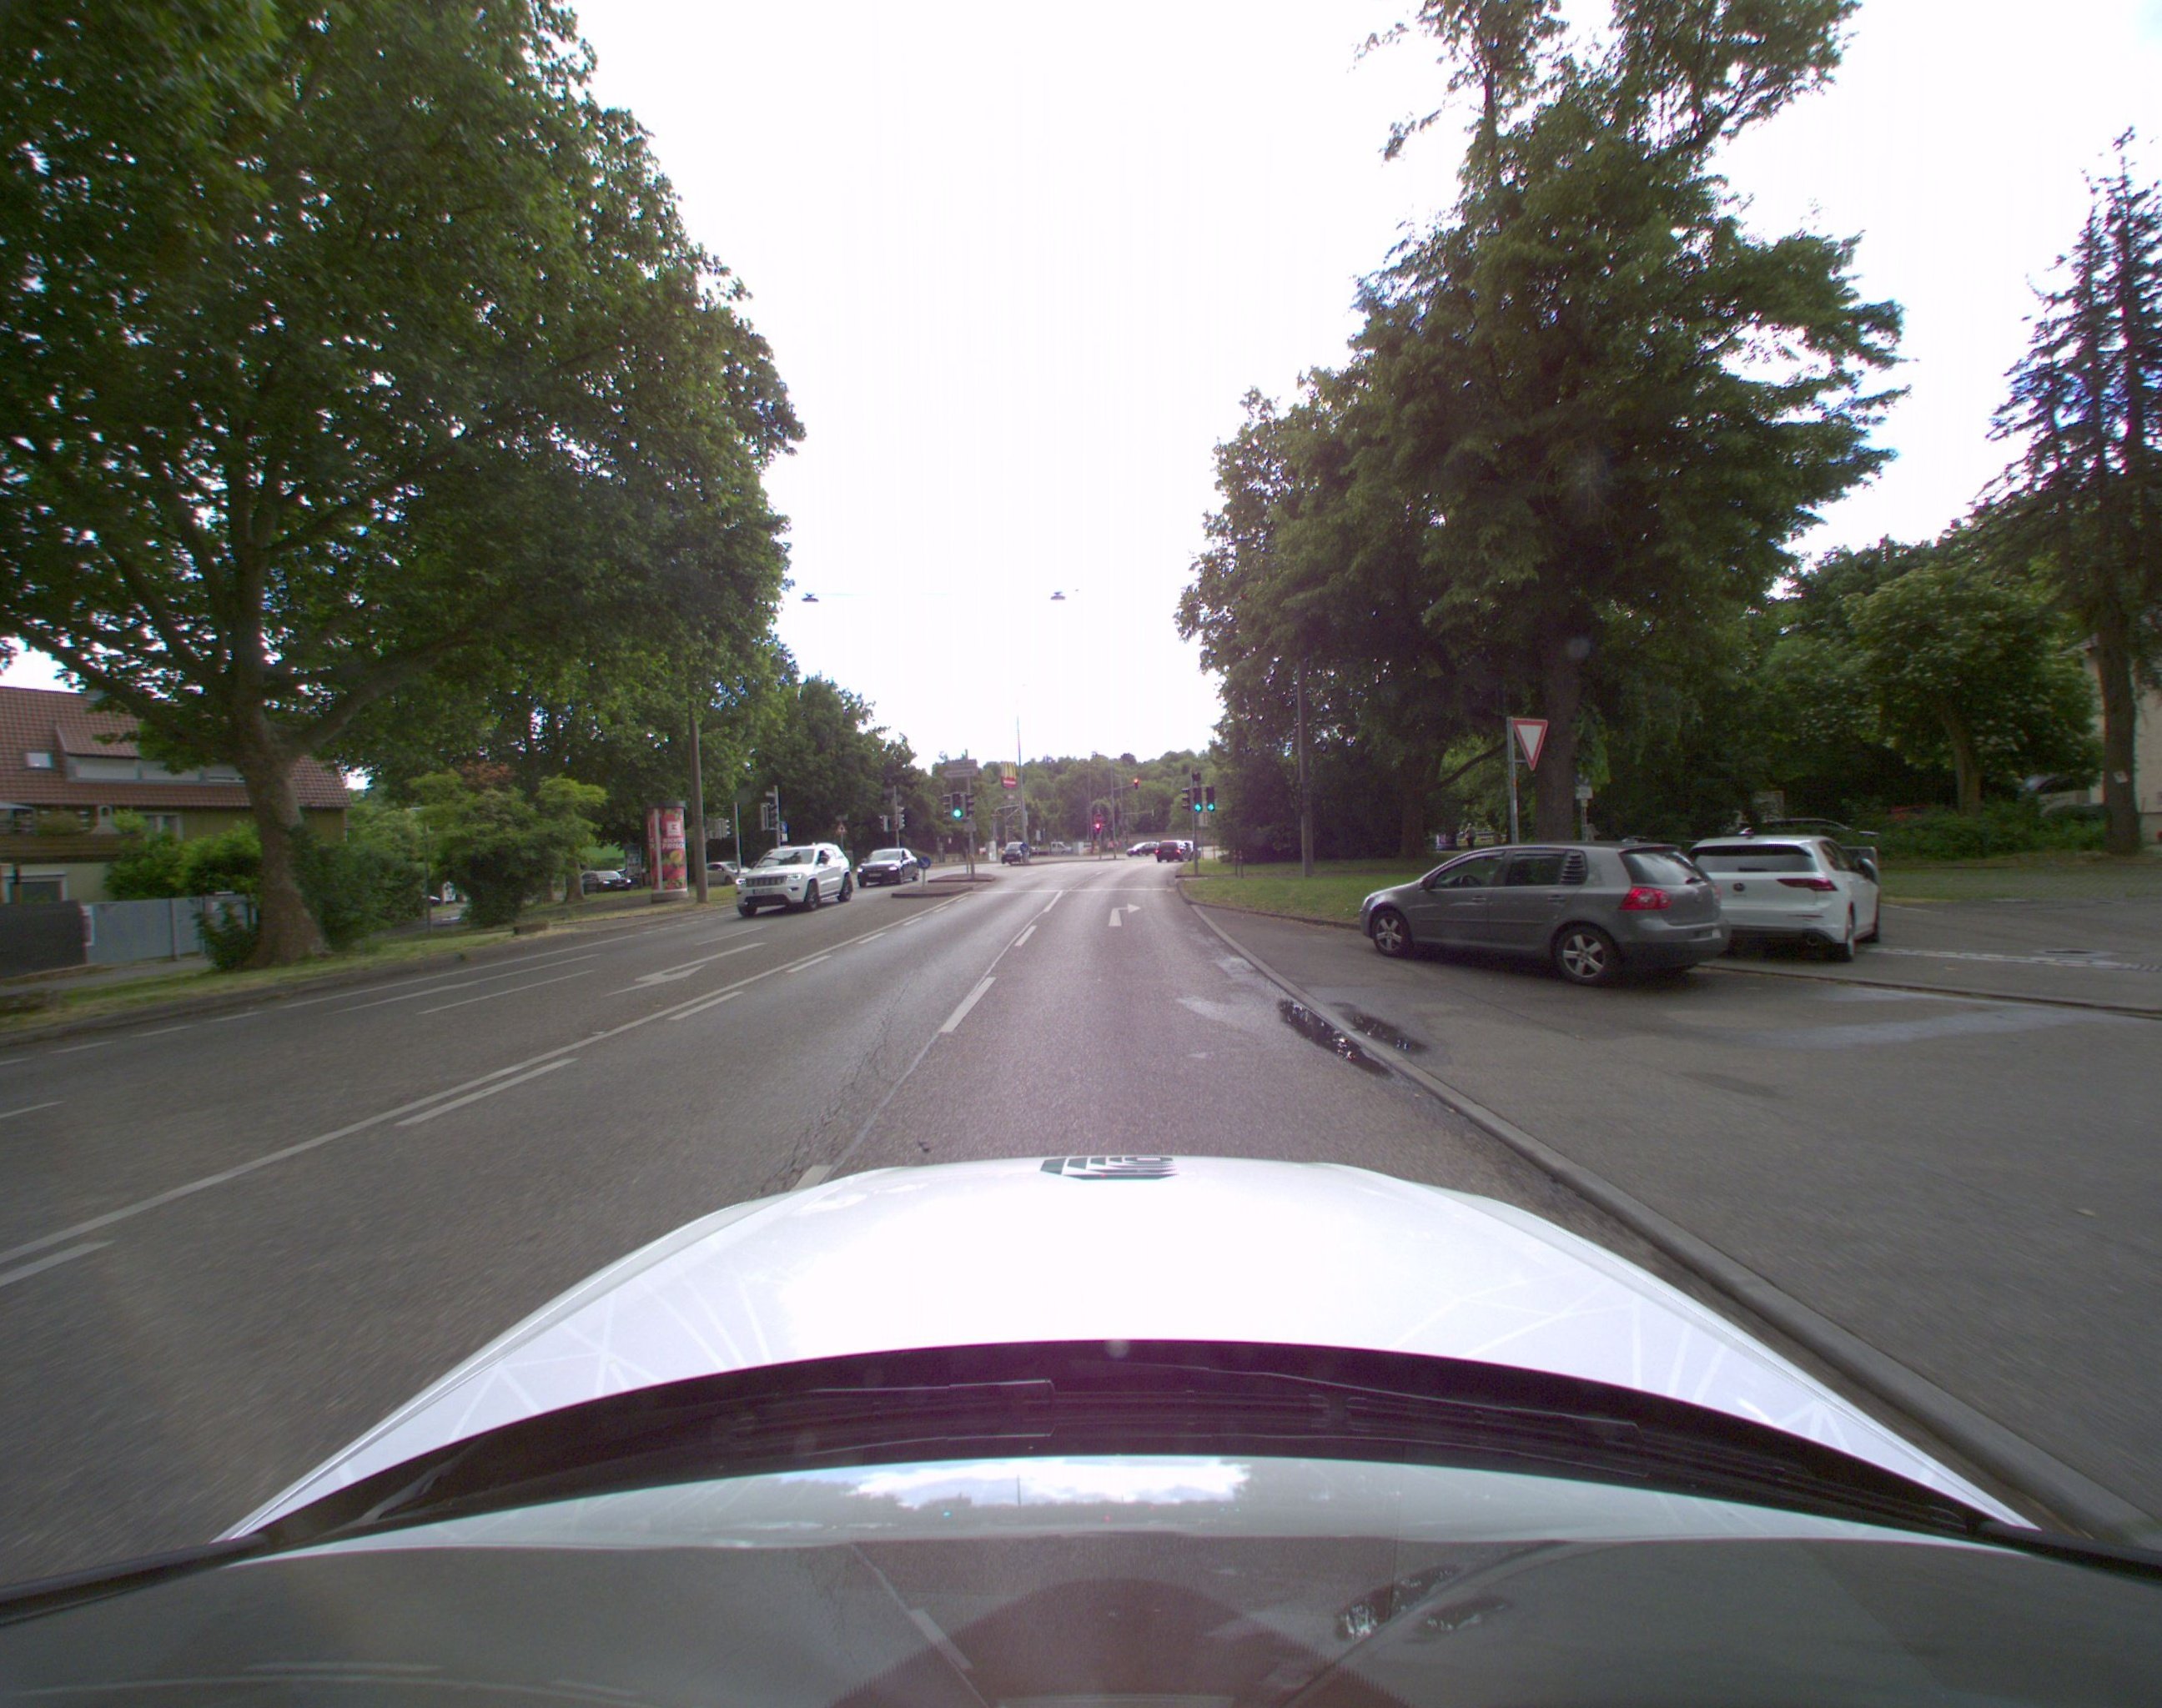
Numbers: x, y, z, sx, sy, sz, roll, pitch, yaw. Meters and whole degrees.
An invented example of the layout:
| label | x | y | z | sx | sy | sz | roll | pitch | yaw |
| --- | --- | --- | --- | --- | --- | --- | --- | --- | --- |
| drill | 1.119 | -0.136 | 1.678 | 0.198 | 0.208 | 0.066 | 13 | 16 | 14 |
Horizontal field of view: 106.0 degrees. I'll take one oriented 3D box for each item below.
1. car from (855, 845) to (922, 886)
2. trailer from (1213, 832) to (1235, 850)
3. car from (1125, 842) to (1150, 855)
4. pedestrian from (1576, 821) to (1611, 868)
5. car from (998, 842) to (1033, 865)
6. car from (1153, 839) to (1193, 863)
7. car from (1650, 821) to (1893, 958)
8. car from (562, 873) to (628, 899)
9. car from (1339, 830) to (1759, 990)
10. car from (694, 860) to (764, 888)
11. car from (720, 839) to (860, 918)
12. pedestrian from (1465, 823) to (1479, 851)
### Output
| label | x | y | z | sx | sy | sz | roll | pitch | yaw |
| --- | --- | --- | --- | --- | --- | --- | --- | --- | --- |
| car | -7.788 | 0.439 | 33.233 | 1.562 | 1.382 | 3.952 | -4 | 2 | 2 |
| trailer | 23.230 | -2.094 | 131.976 | 2.331 | 2.582 | 4.947 | -3 | -1 | 22 |
| car | 6.361 | -0.621 | 90.905 | 1.663 | 1.366 | 4.332 | -2 | 1 | 18 |
| pedestrian | 17.467 | -0.313 | 27.769 | 0.680 | 1.551 | 0.744 | -3 | 0 | 7 |
| car | -4.763 | -0.071 | 59.243 | 1.557 | 1.527 | 3.201 | -3 | 1 | 13 |
| car | 6.407 | -0.241 | 56.277 | 1.808 | 1.509 | 4.595 | -3 | 0 | 17 |
| car | 9.020 | 0.330 | 10.507 | 4.285 | 1.380 | 1.744 | -3 | 0 | -41 |
| car | -33.667 | 2.209 | 56.437 | 4.215 | 1.546 | 2.013 | -3 | 0 | 29 |
| car | 5.246 | 0.495 | 9.763 | 1.737 | 1.429 | 4.076 | -3 | 1 | -27 |
| car | -20.953 | 1.211 | 48.467 | 3.805 | 1.479 | 1.838 | -3 | 1 | 30 |
| car | -7.887 | 0.572 | 22.623 | 1.904 | 1.763 | 4.756 | -3 | 2 | 2 |
| pedestrian | 22.007 | -0.959 | 45.838 | 0.506 | 1.531 | 0.781 | -2 | 0 | 17 |
